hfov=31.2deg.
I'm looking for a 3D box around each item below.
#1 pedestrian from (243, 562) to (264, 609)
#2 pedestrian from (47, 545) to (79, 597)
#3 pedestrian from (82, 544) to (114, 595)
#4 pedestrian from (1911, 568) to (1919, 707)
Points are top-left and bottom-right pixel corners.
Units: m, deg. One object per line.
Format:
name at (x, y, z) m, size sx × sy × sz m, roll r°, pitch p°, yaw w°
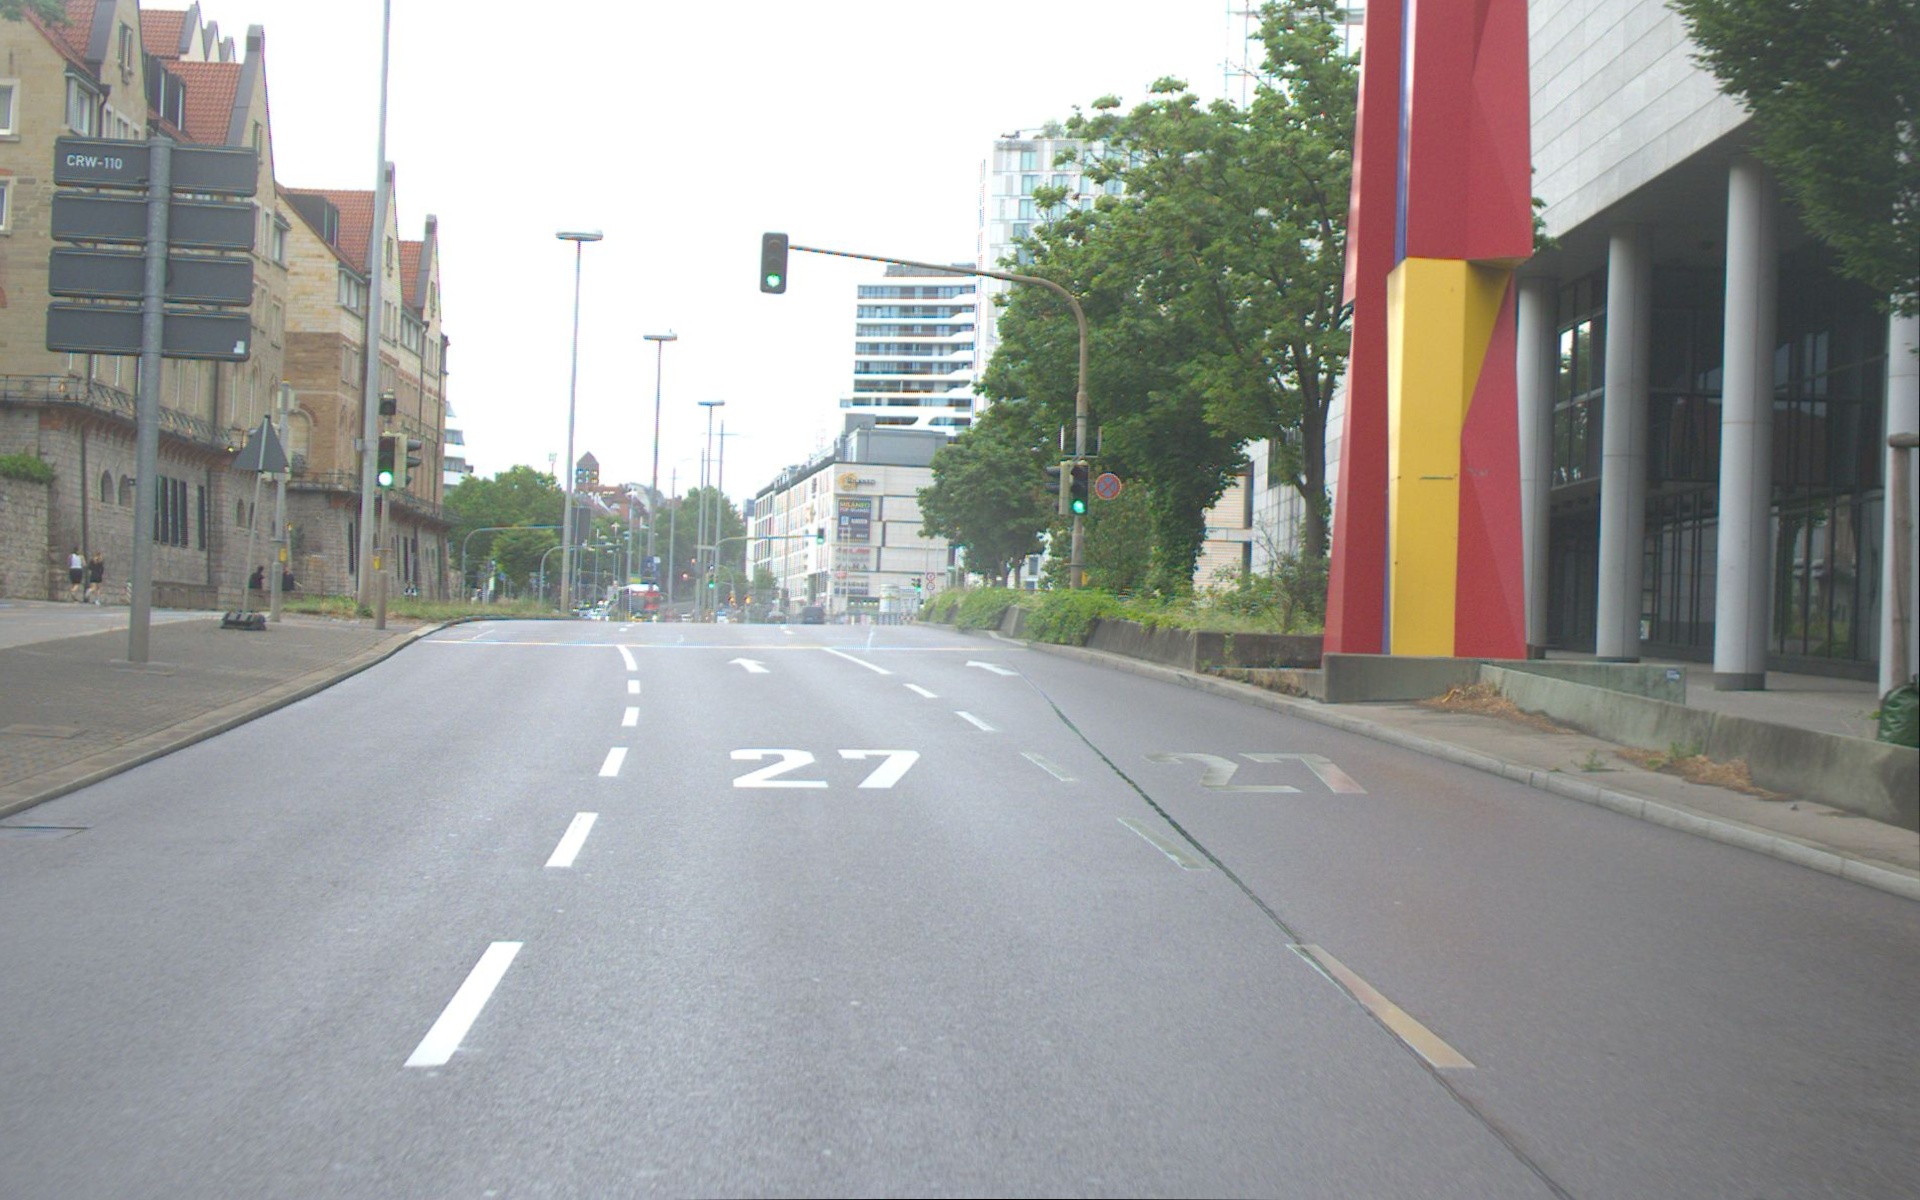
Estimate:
pedestrian at (-26.390, -0.538, 128.436) m, size 0.640 × 1.740 × 0.621 m, roll 1°, pitch 1°, yaw -3°
pedestrian at (-25.927, -0.846, 99.385) m, size 0.754 × 1.473 × 0.714 m, roll 1°, pitch 1°, yaw -2°
pedestrian at (-25.001, -0.896, 99.694) m, size 0.754 × 1.473 × 0.714 m, roll 1°, pitch 1°, yaw -2°
pedestrian at (11.455, 0.435, 39.111) m, size 0.970 × 1.581 × 0.842 m, roll 1°, pitch 1°, yaw -5°
